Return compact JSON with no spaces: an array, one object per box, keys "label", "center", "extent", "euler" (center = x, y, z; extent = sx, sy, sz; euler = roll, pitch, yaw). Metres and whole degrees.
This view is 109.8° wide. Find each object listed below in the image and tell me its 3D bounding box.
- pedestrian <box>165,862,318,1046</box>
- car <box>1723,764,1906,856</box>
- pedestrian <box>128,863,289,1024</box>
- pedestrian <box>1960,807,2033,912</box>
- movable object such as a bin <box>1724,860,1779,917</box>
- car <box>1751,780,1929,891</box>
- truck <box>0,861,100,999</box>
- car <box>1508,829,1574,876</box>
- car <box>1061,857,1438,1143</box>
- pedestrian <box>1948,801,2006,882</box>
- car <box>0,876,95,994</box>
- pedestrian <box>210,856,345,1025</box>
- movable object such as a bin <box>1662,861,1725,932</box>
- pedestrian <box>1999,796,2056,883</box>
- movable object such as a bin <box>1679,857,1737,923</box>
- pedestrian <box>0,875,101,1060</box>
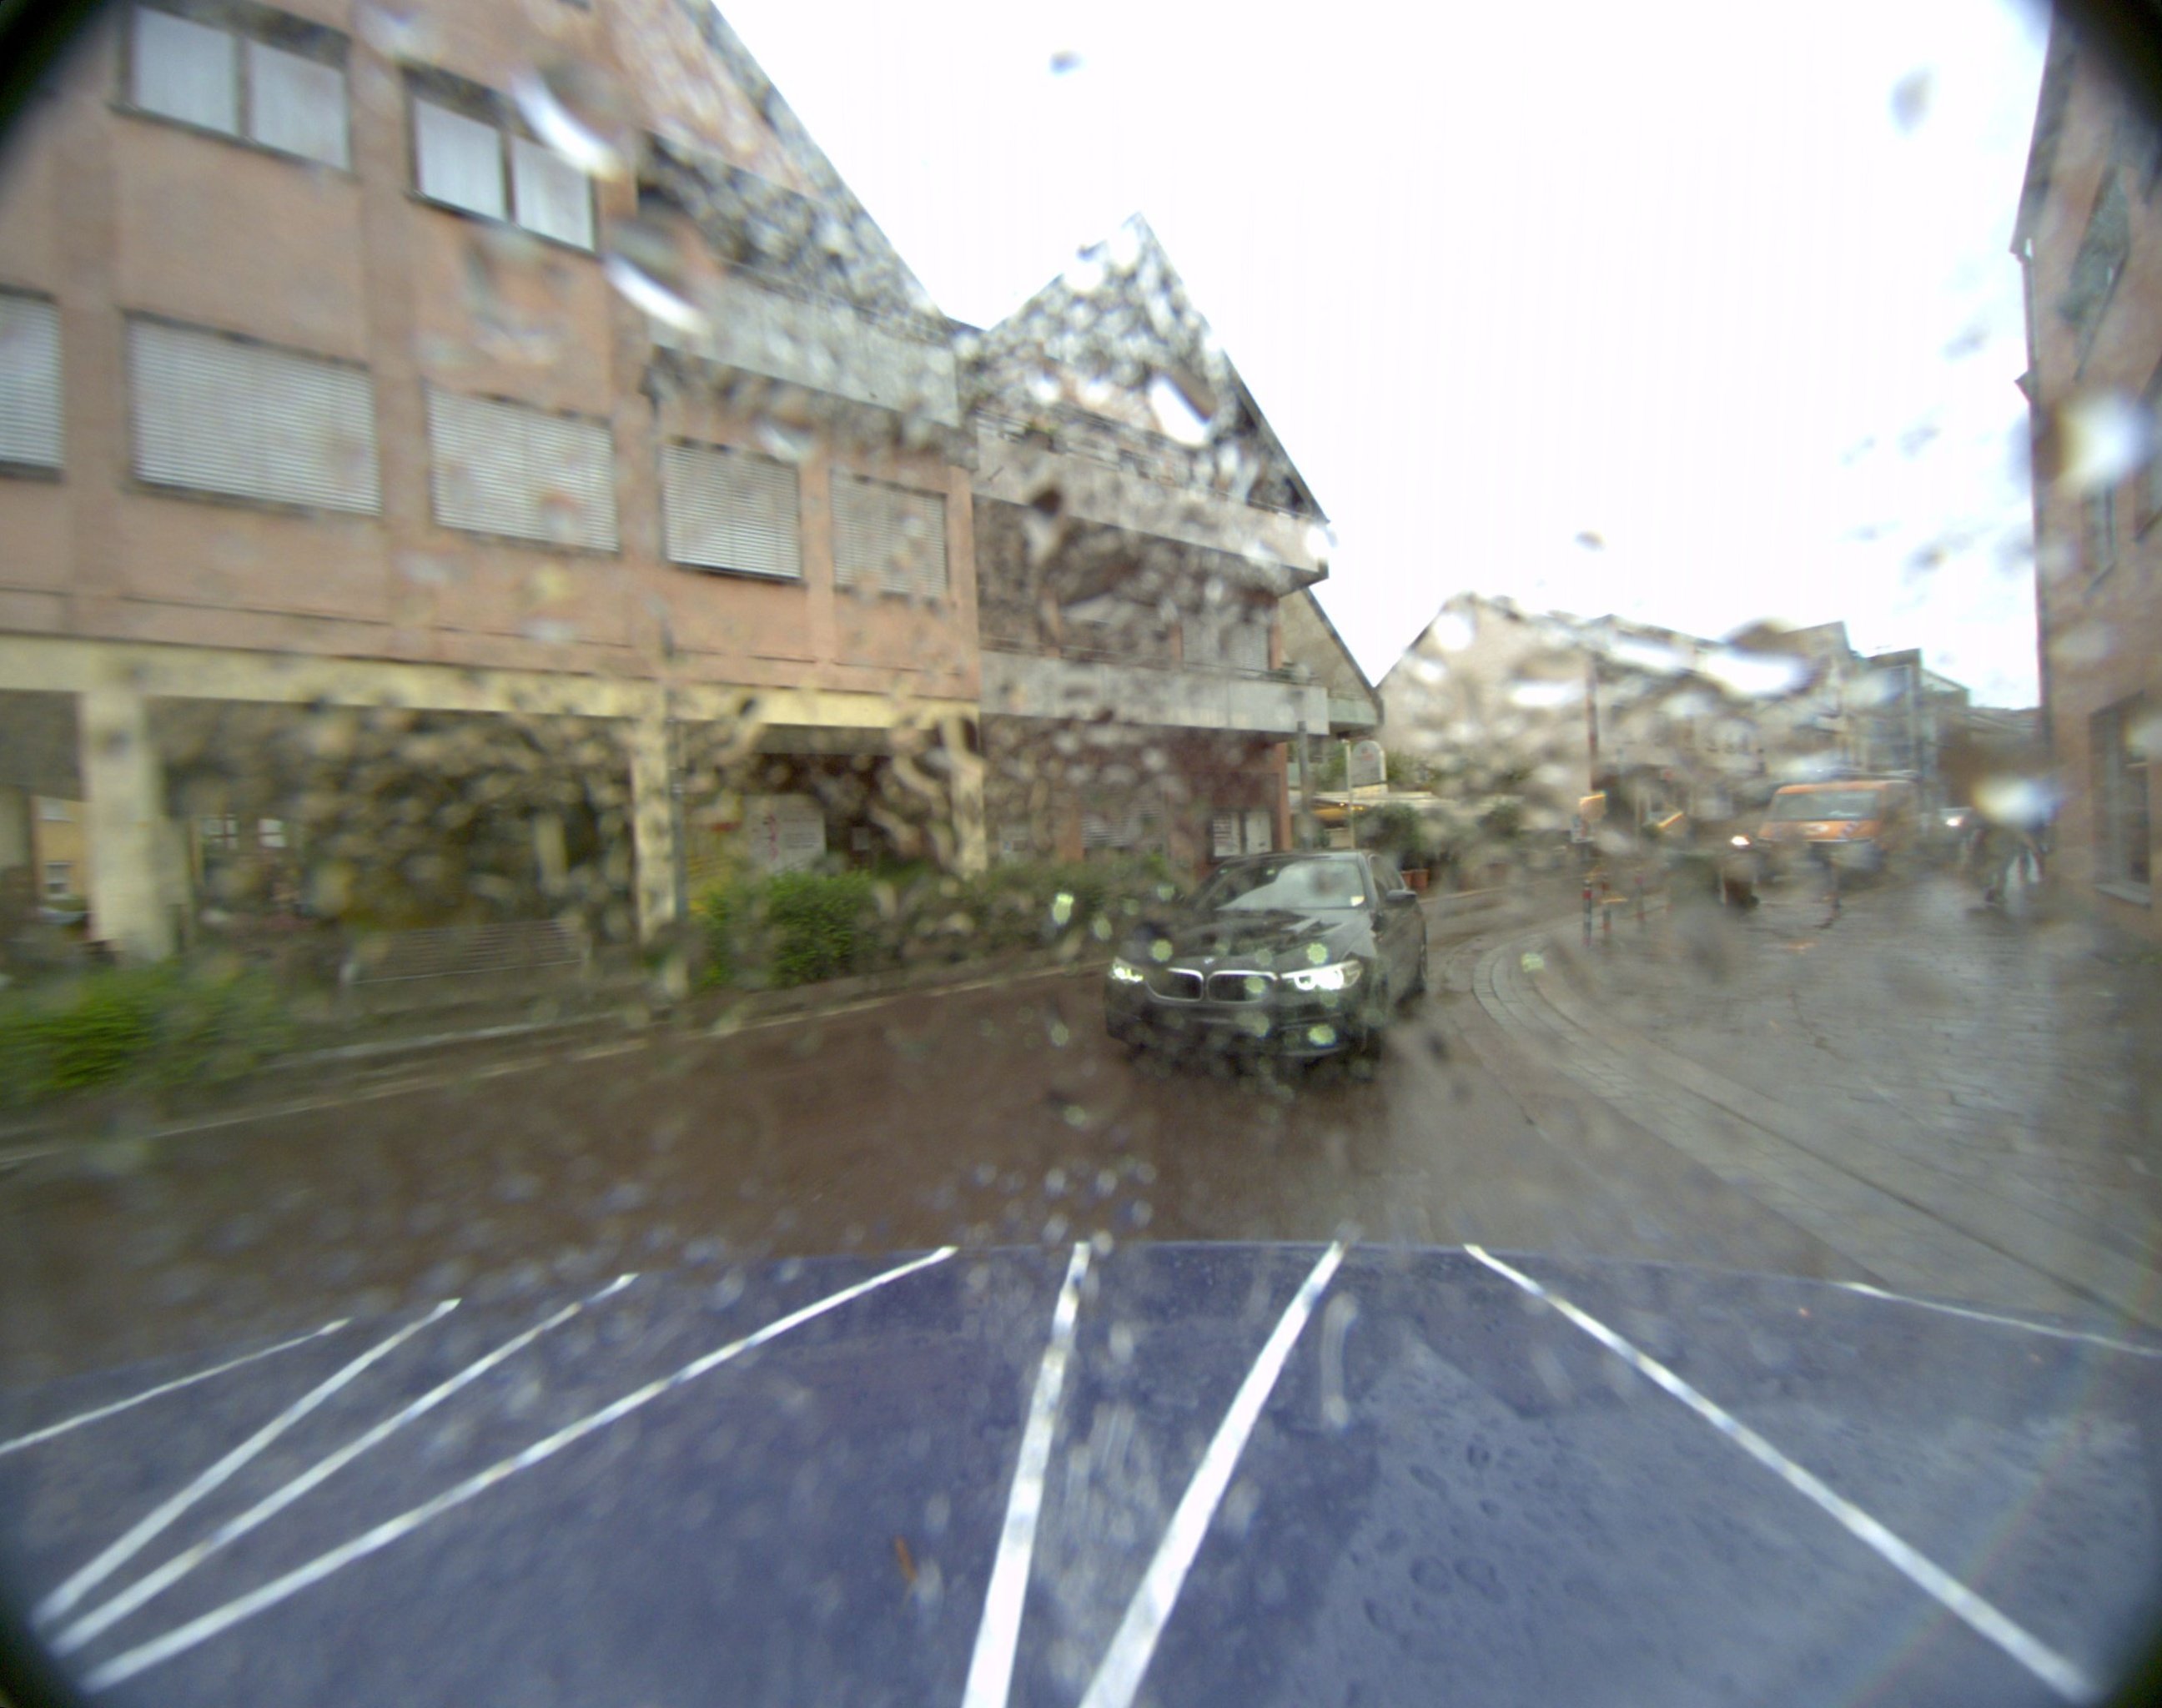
[{"label":"pedestrian","center":[-8.240,0.928,7.505],"extent":[0.822,1.652,0.696],"euler":[-4,2,-39]},{"label":"car","center":[26.649,-1.540,27.447],"extent":[8.858,2.857,2.705],"euler":[-2,0,-33]},{"label":"pedestrian","center":[-9.413,0.936,8.229],"extent":[0.707,1.610,0.797],"euler":[-3,2,7]},{"label":"pedestrian","center":[14.409,0.080,11.978],"extent":[0.685,1.601,0.660],"euler":[-4,1,-44]},{"label":"movable object such as a bin","center":[11.548,0.588,13.090],"extent":[0.482,0.921,0.582],"euler":[-4,1,-34]},{"label":"car","center":[17.850,-0.506,17.753],"extent":[5.870,2.227,1.995],"euler":[-4,2,-36]},{"label":"truck","center":[-16.138,1.094,9.678],"extent":[4.006,1.798,1.764],"euler":[-3,2,-31]},{"label":"car","center":[15.467,-0.078,25.455],"extent":[1.734,1.349,3.943],"euler":[-2,1,33]},{"label":"car","center":[1.824,0.843,6.562],"extent":[1.943,1.394,4.427],"euler":[-2,1,29]},{"label":"pedestrian","center":[18.721,-0.255,15.892],"extent":[0.747,1.630,0.715],"euler":[-4,0,-41]},{"label":"car","center":[-14.249,1.027,7.900],"extent":[4.478,1.268,1.764],"euler":[-3,1,-31]},{"label":"pedestrian","center":[-8.602,0.877,8.174],"extent":[0.734,1.680,0.723],"euler":[-4,2,-30]},{"label":"movable object such as a bin","center":[9.523,0.652,11.812],"extent":[0.611,1.031,0.657],"euler":[-4,2,-43]},{"label":"pedestrian","center":[19.147,-0.296,15.388],"extent":[0.810,1.702,0.623],"euler":[-4,0,-42]},{"label":"movable object such as a bin","center":[10.448,0.593,12.662],"extent":[0.611,1.031,0.657],"euler":[-4,2,-43]},{"label":"pedestrian","center":[-9.949,1.029,6.981],"extent":[0.826,1.595,0.743],"euler":[-3,3,-27]}]
